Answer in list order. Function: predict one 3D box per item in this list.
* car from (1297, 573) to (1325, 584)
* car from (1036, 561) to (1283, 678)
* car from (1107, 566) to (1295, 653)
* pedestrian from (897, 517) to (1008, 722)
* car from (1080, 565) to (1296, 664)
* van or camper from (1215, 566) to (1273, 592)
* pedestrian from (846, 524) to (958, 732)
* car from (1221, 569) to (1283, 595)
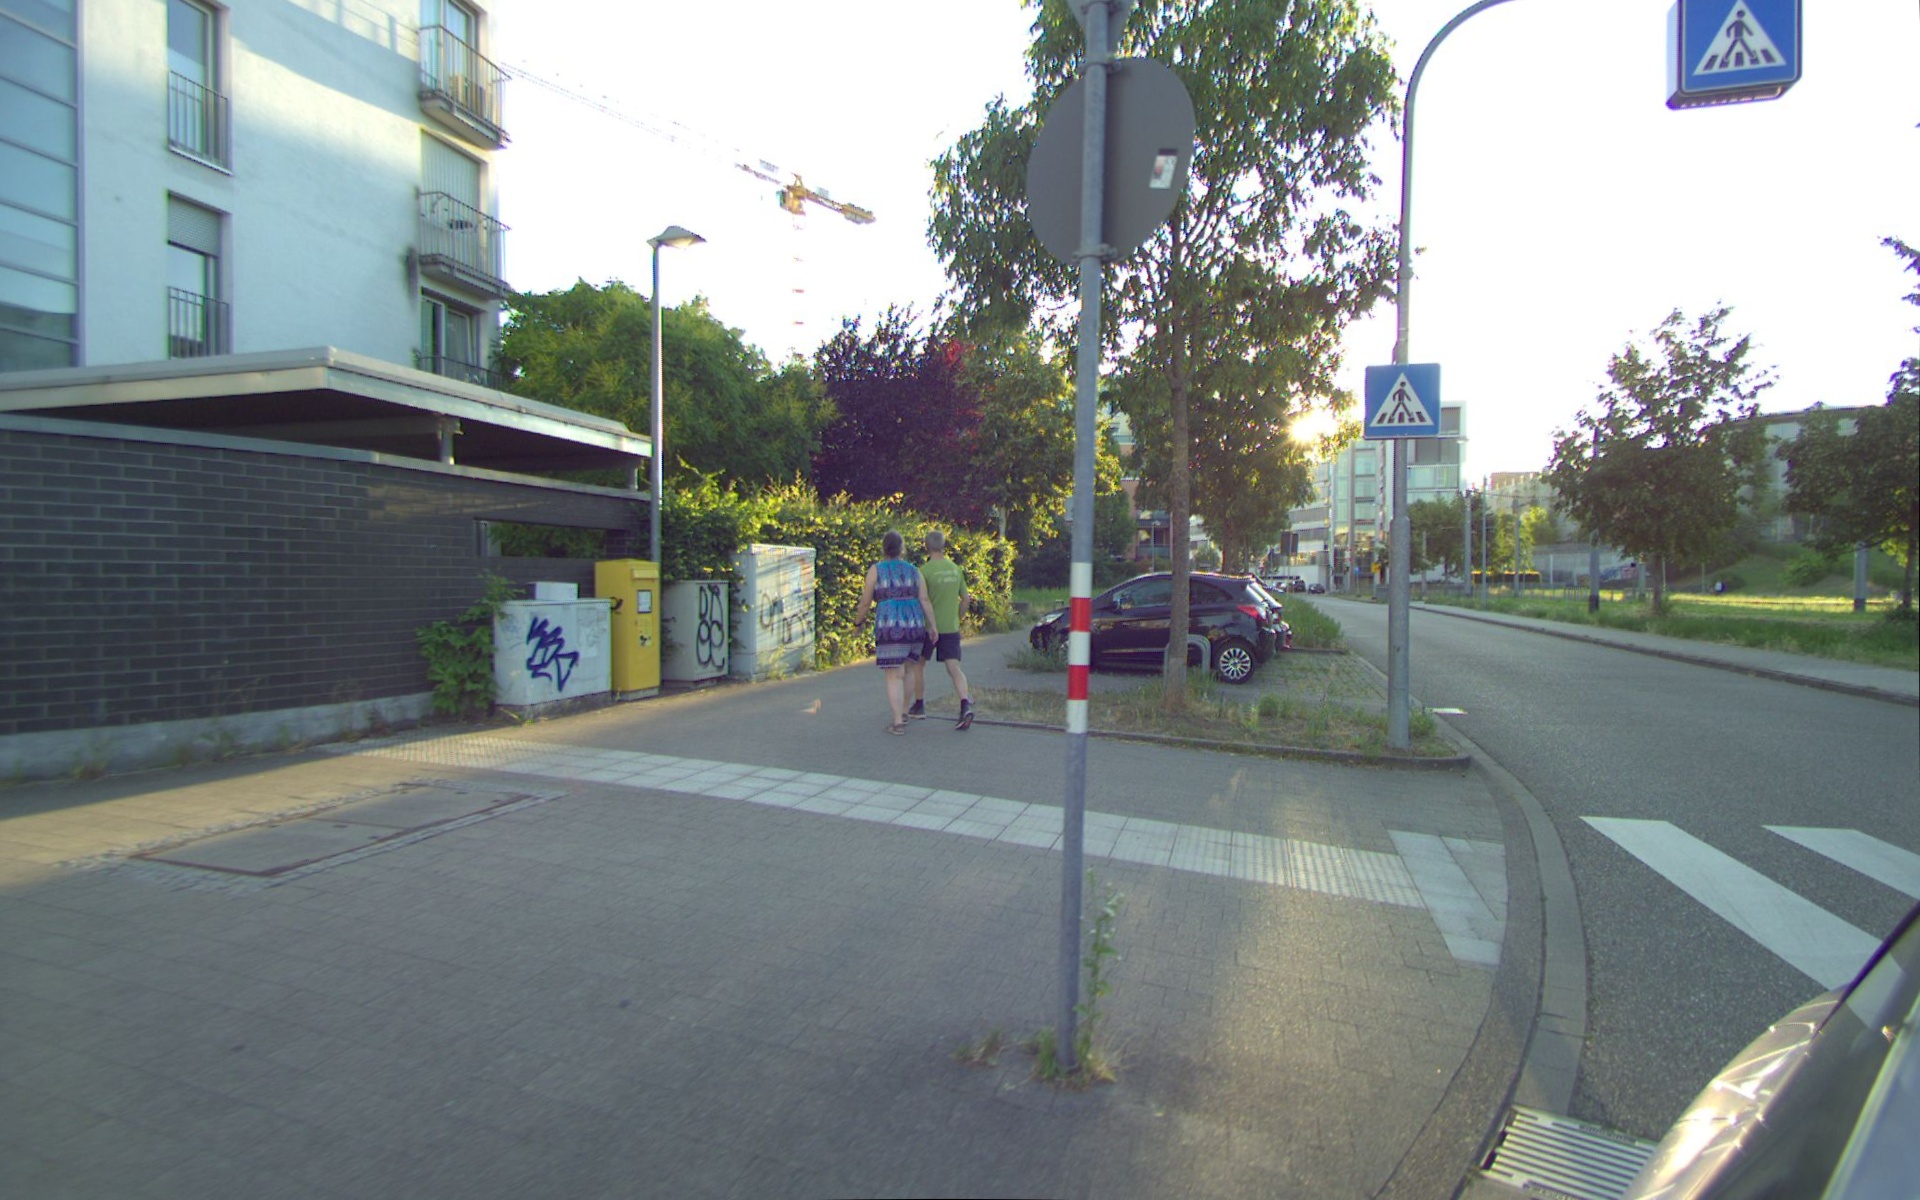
[{"bbox_3d":[52.723,-3.288,151.985,3.823,1.633,1.696,0,1,15],"label":"car"},{"bbox_3d":[2.938,0.226,14.858,3.363,1.541,1.682,1,1,17],"label":"car"},{"bbox_3d":[4.628,0.135,19.485,3.363,1.519,1.587,1,1,17],"label":"car"},{"bbox_3d":[-0.078,0.154,8.821,0.611,1.688,0.745,4,1,-24],"label":"pedestrian"},{"bbox_3d":[3.802,0.189,16.954,3.363,1.519,1.587,1,1,17],"label":"car"},{"bbox_3d":[19.713,-1.468,70.392,3.821,1.716,1.828,0,1,13],"label":"van or camper"},{"bbox_3d":[-0.485,0.211,8.305,0.643,1.619,0.714,2,2,-24],"label":"pedestrian"},{"bbox_3d":[19.457,-1.198,67.519,3.818,1.716,1.697,0,1,11],"label":"car"}]
